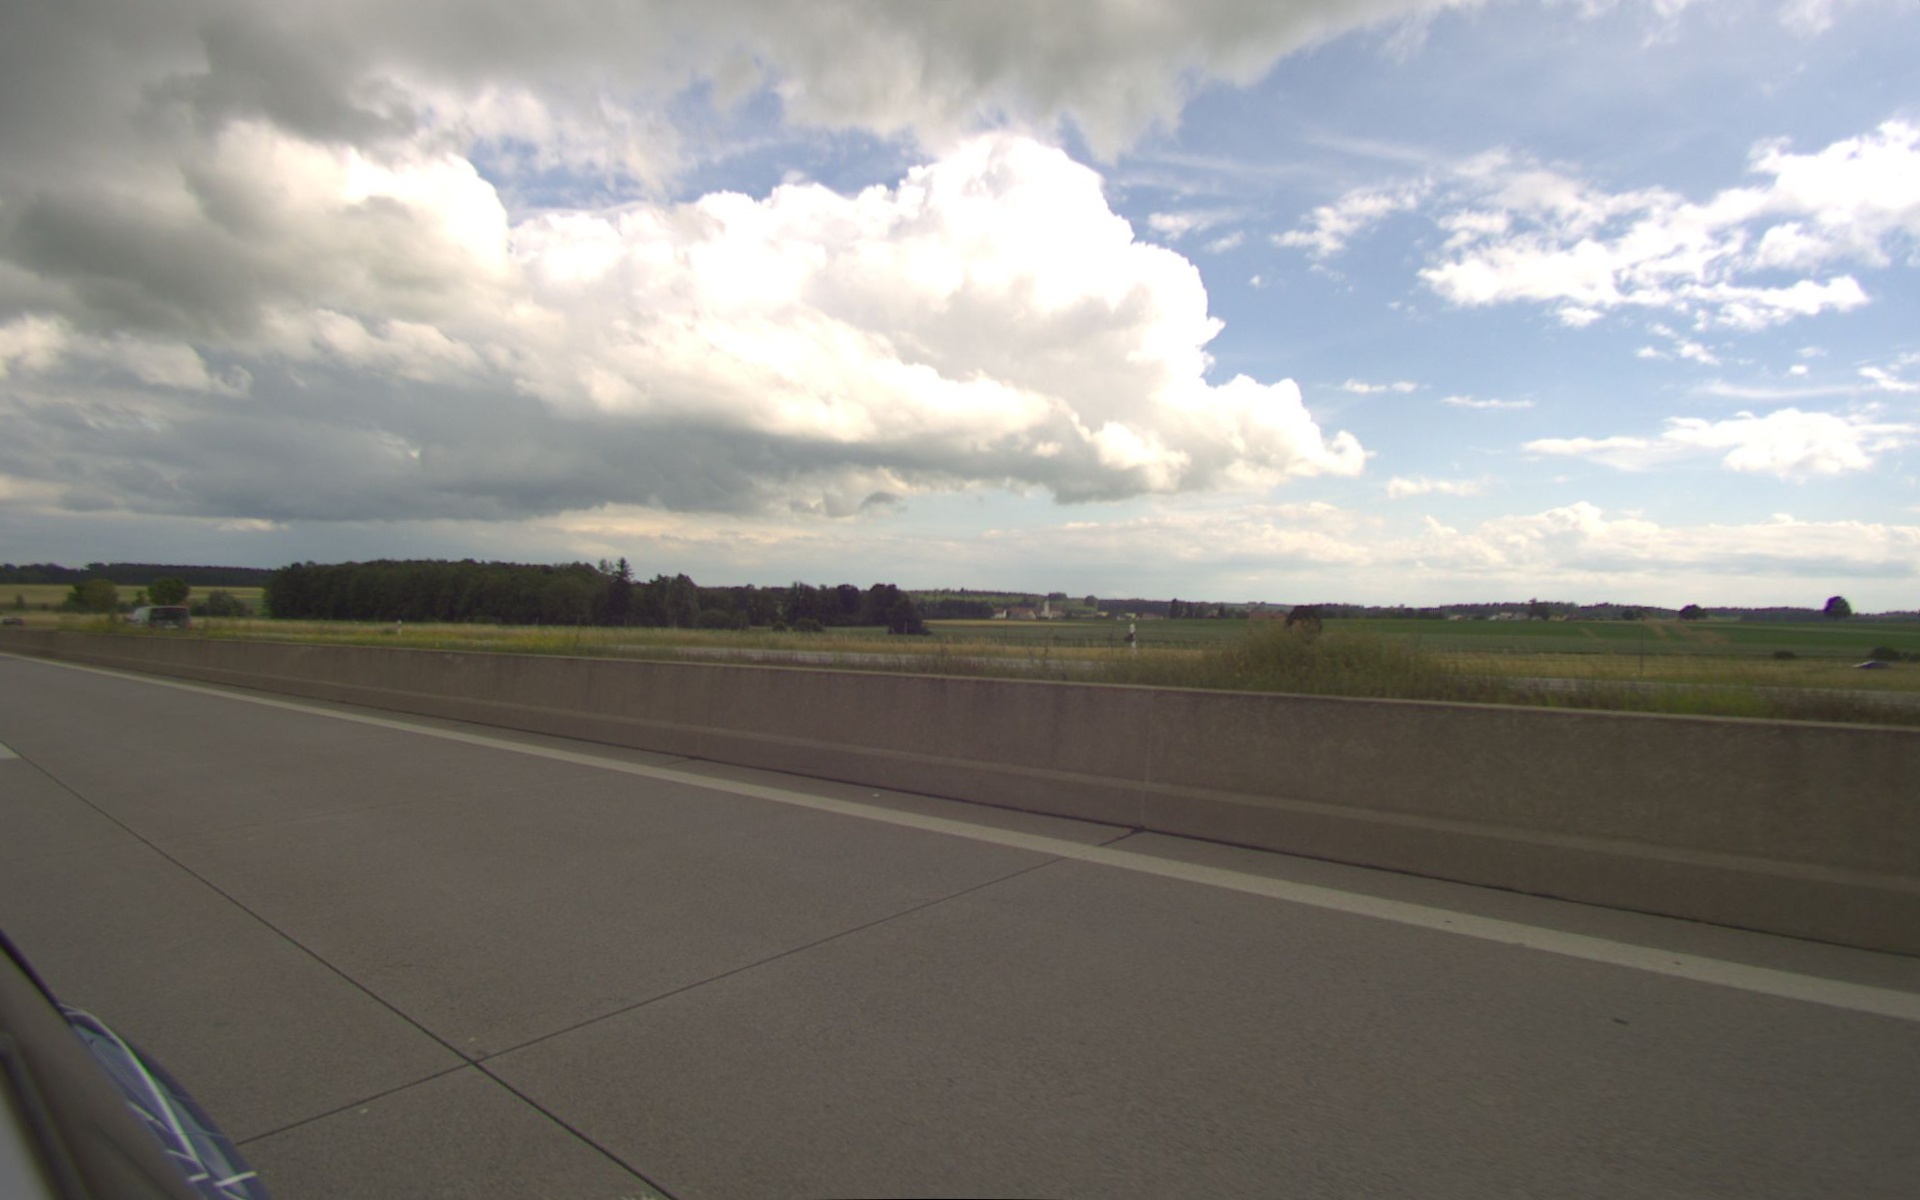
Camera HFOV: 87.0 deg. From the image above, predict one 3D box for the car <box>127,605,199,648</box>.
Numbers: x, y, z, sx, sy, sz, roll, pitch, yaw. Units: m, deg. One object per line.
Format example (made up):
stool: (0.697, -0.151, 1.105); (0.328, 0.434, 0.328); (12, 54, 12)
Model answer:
car: (-39.878, 1.345, 50.599); (4.627, 2.029, 1.973); (-2, -1, 41)

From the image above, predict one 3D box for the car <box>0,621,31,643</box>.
car: (-75.904, 2.549, 81.321); (3.257, 1.659, 1.534); (1, 1, 41)
